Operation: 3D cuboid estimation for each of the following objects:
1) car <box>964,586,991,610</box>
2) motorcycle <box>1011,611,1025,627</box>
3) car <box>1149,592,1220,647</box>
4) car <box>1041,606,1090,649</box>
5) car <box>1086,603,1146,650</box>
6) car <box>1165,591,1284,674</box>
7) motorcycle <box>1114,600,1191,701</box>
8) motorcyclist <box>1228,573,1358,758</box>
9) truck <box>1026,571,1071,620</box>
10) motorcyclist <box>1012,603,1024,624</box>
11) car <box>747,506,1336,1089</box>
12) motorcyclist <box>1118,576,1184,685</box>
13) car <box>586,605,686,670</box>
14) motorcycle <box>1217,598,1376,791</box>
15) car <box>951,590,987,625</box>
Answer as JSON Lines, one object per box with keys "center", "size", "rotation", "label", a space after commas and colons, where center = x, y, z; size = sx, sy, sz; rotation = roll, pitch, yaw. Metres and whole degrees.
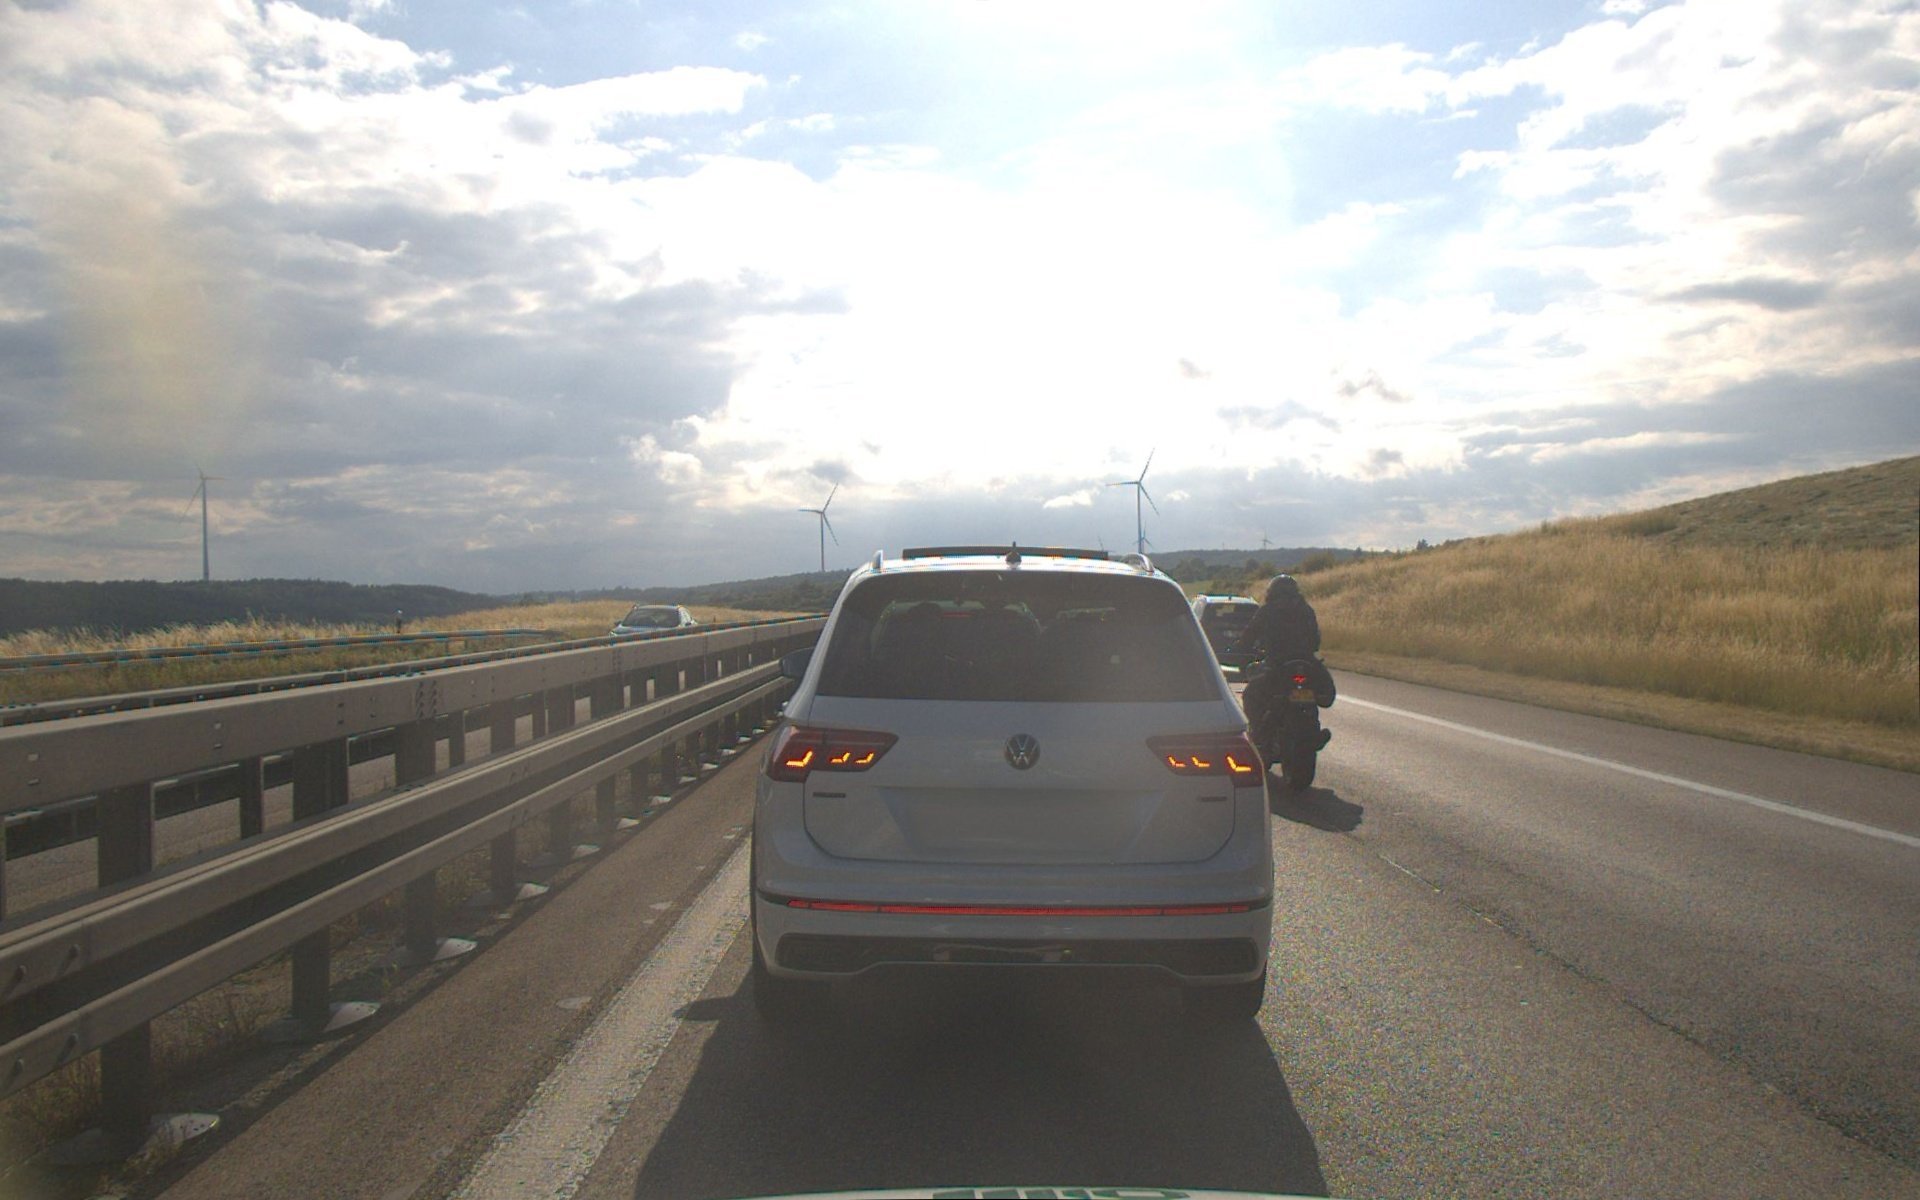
{"center": [1.133, -0.114, 110.035], "size": [1.669, 1.573, 3.999], "rotation": [0, 0, -1], "label": "car"}
{"center": [4.383, 1.426, 125.241], "size": [0.877, 1.211, 2.256], "rotation": [0, 0, -1], "label": "motorcycle"}
{"center": [6.182, 0.528, 45.797], "size": [1.572, 1.445, 3.673], "rotation": [0, 0, 2], "label": "car"}
{"center": [4.278, 1.094, 67.335], "size": [1.669, 1.679, 3.999], "rotation": [0, 0, -1], "label": "car"}
{"center": [5.455, 0.918, 58.085], "size": [1.669, 1.573, 3.999], "rotation": [0, 0, -1], "label": "car"}
{"center": [5.625, 0.672, 35.663], "size": [1.784, 1.629, 4.234], "rotation": [2, 0, -1], "label": "car"}
{"center": [2.932, 0.746, 25.439], "size": [0.877, 1.481, 2.268], "rotation": [0, 0, -1], "label": "motorcycle"}
{"center": [2.745, 0.529, 13.711], "size": [0.877, 1.481, 0.892], "rotation": [0, -1, -2], "label": "motorcyclist"}
{"center": [6.865, -0.366, 130.069], "size": [3.118, 3.656, 11.132], "rotation": [0, 0, 1], "label": "truck"}
{"center": [4.387, 0.987, 125.199], "size": [0.832, 1.587, 0.934], "rotation": [0, -1, -1], "label": "motorcyclist"}
{"center": [0.219, 0.591, 6.868], "size": [1.734, 1.705, 3.999], "rotation": [0, 0, -1], "label": "car"}
{"center": [2.929, 0.459, 25.422], "size": [0.877, 1.645, 1.022], "rotation": [0, -1, -1], "label": "motorcyclist"}
{"center": [-7.842, 0.880, 40.352], "size": [1.697, 1.511, 3.999], "rotation": [0, 0, -1], "label": "car"}
{"center": [2.745, 0.734, 13.728], "size": [0.877, 1.481, 1.982], "rotation": [0, 0, -1], "label": "motorcycle"}
{"center": [0.412, 0.359, 80.213], "size": [1.669, 1.679, 3.999], "rotation": [0, 0, -1], "label": "car"}
